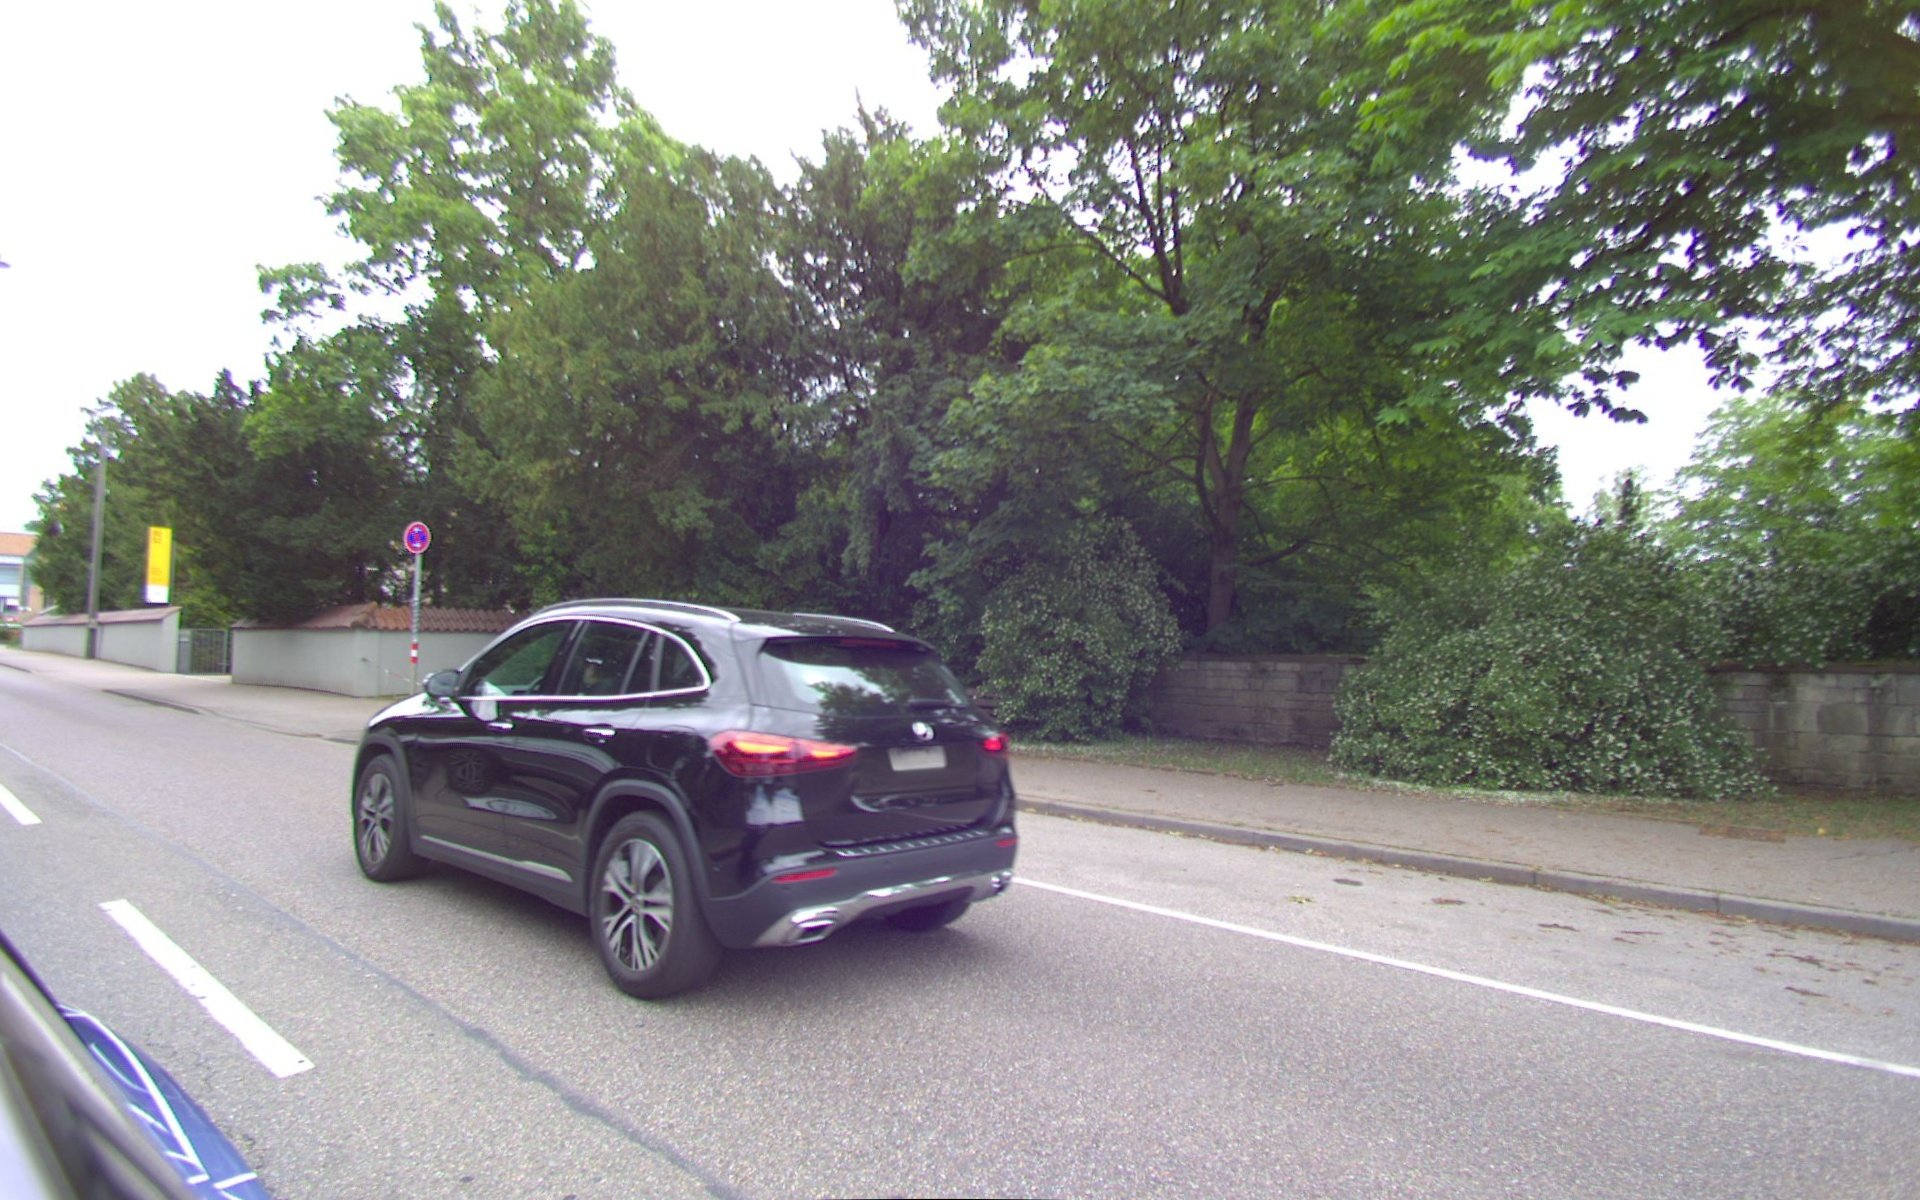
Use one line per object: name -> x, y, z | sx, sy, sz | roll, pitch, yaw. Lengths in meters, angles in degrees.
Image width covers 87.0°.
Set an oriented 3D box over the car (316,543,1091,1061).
car -> -1.629, 0.756, 5.419 | 4.304, 1.670, 1.840 | -1, -6, 41
